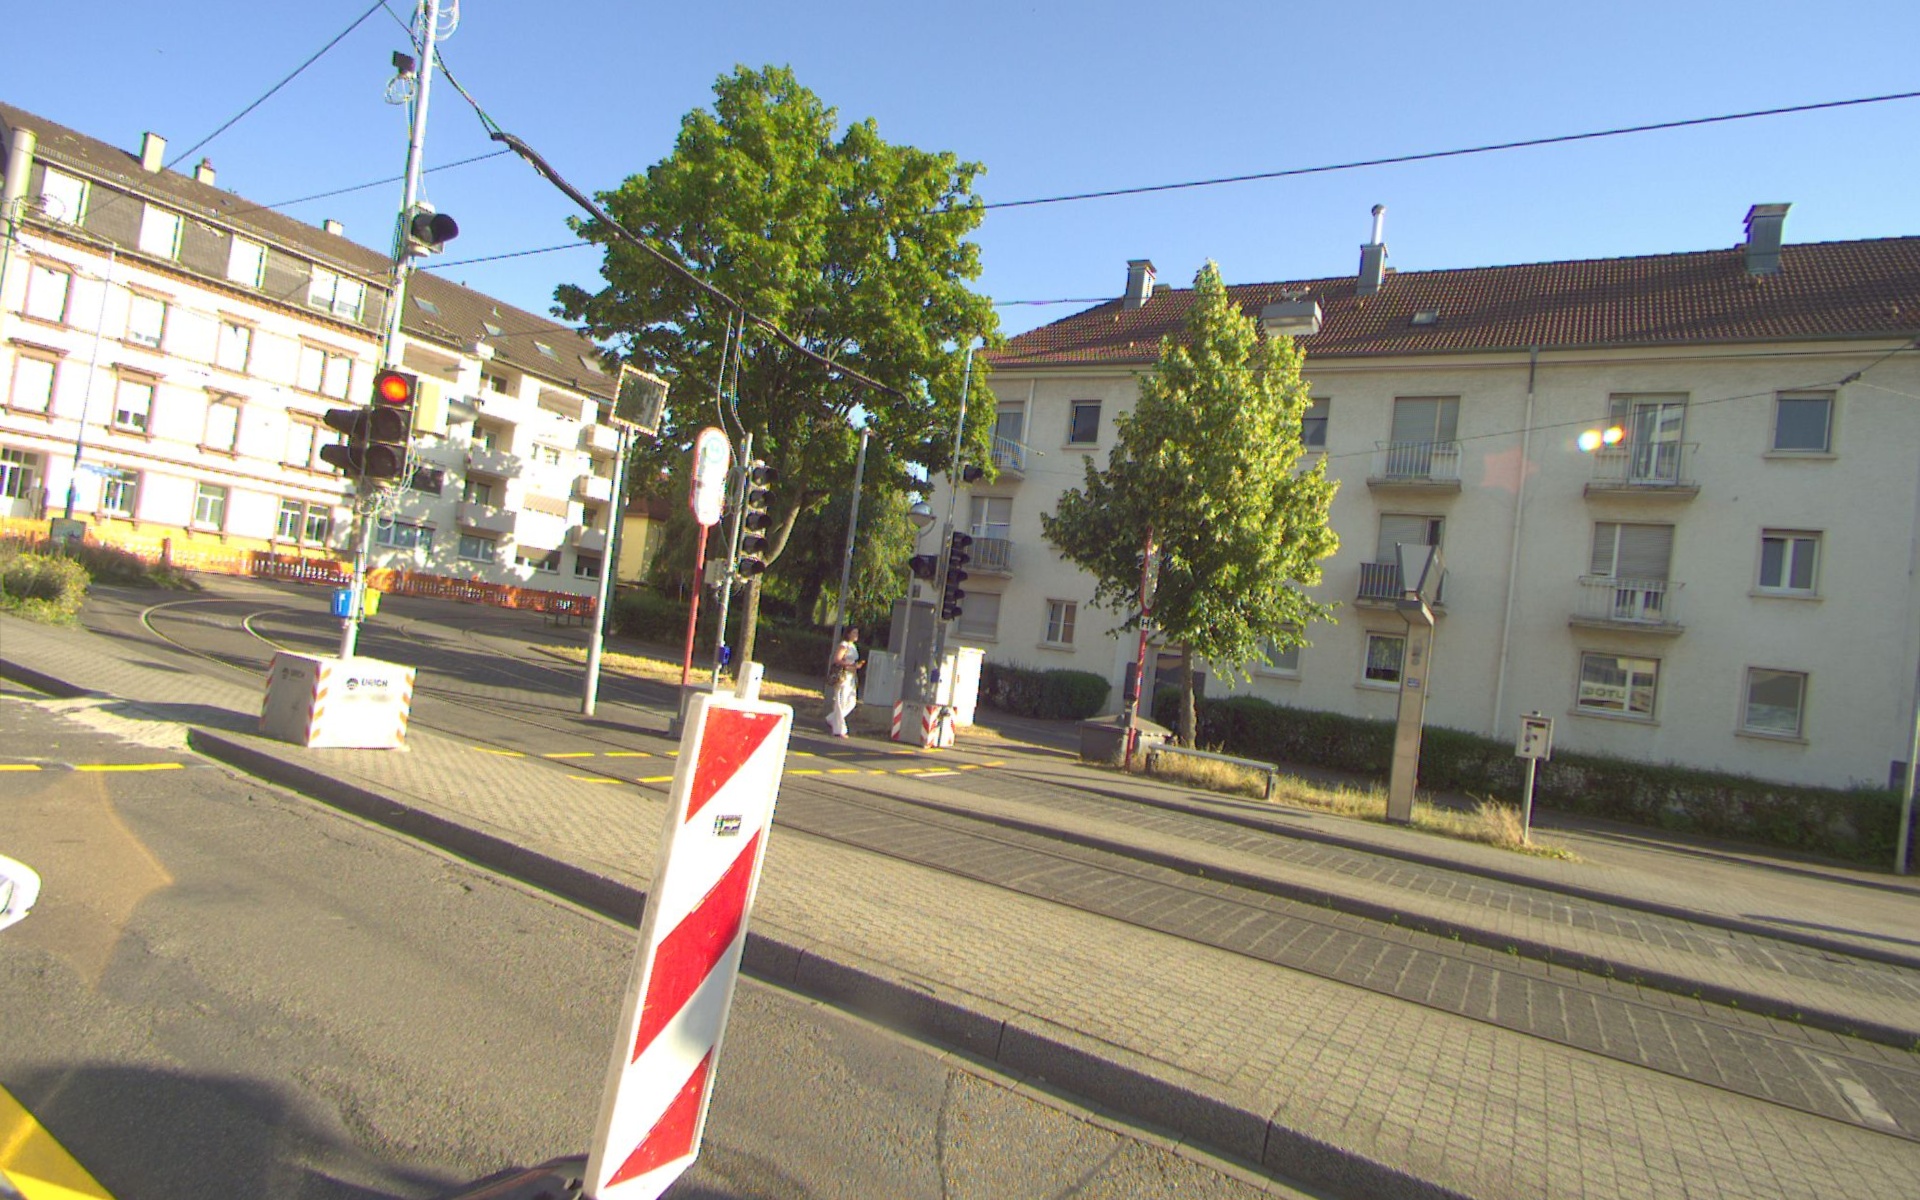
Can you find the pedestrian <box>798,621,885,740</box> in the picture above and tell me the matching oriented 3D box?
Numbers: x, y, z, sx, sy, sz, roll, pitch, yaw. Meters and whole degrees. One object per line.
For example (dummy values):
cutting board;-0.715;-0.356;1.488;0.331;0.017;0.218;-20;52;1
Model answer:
pedestrian;-1.768;1.200;15.055;0.777;1.639;0.826;7;-1;28
